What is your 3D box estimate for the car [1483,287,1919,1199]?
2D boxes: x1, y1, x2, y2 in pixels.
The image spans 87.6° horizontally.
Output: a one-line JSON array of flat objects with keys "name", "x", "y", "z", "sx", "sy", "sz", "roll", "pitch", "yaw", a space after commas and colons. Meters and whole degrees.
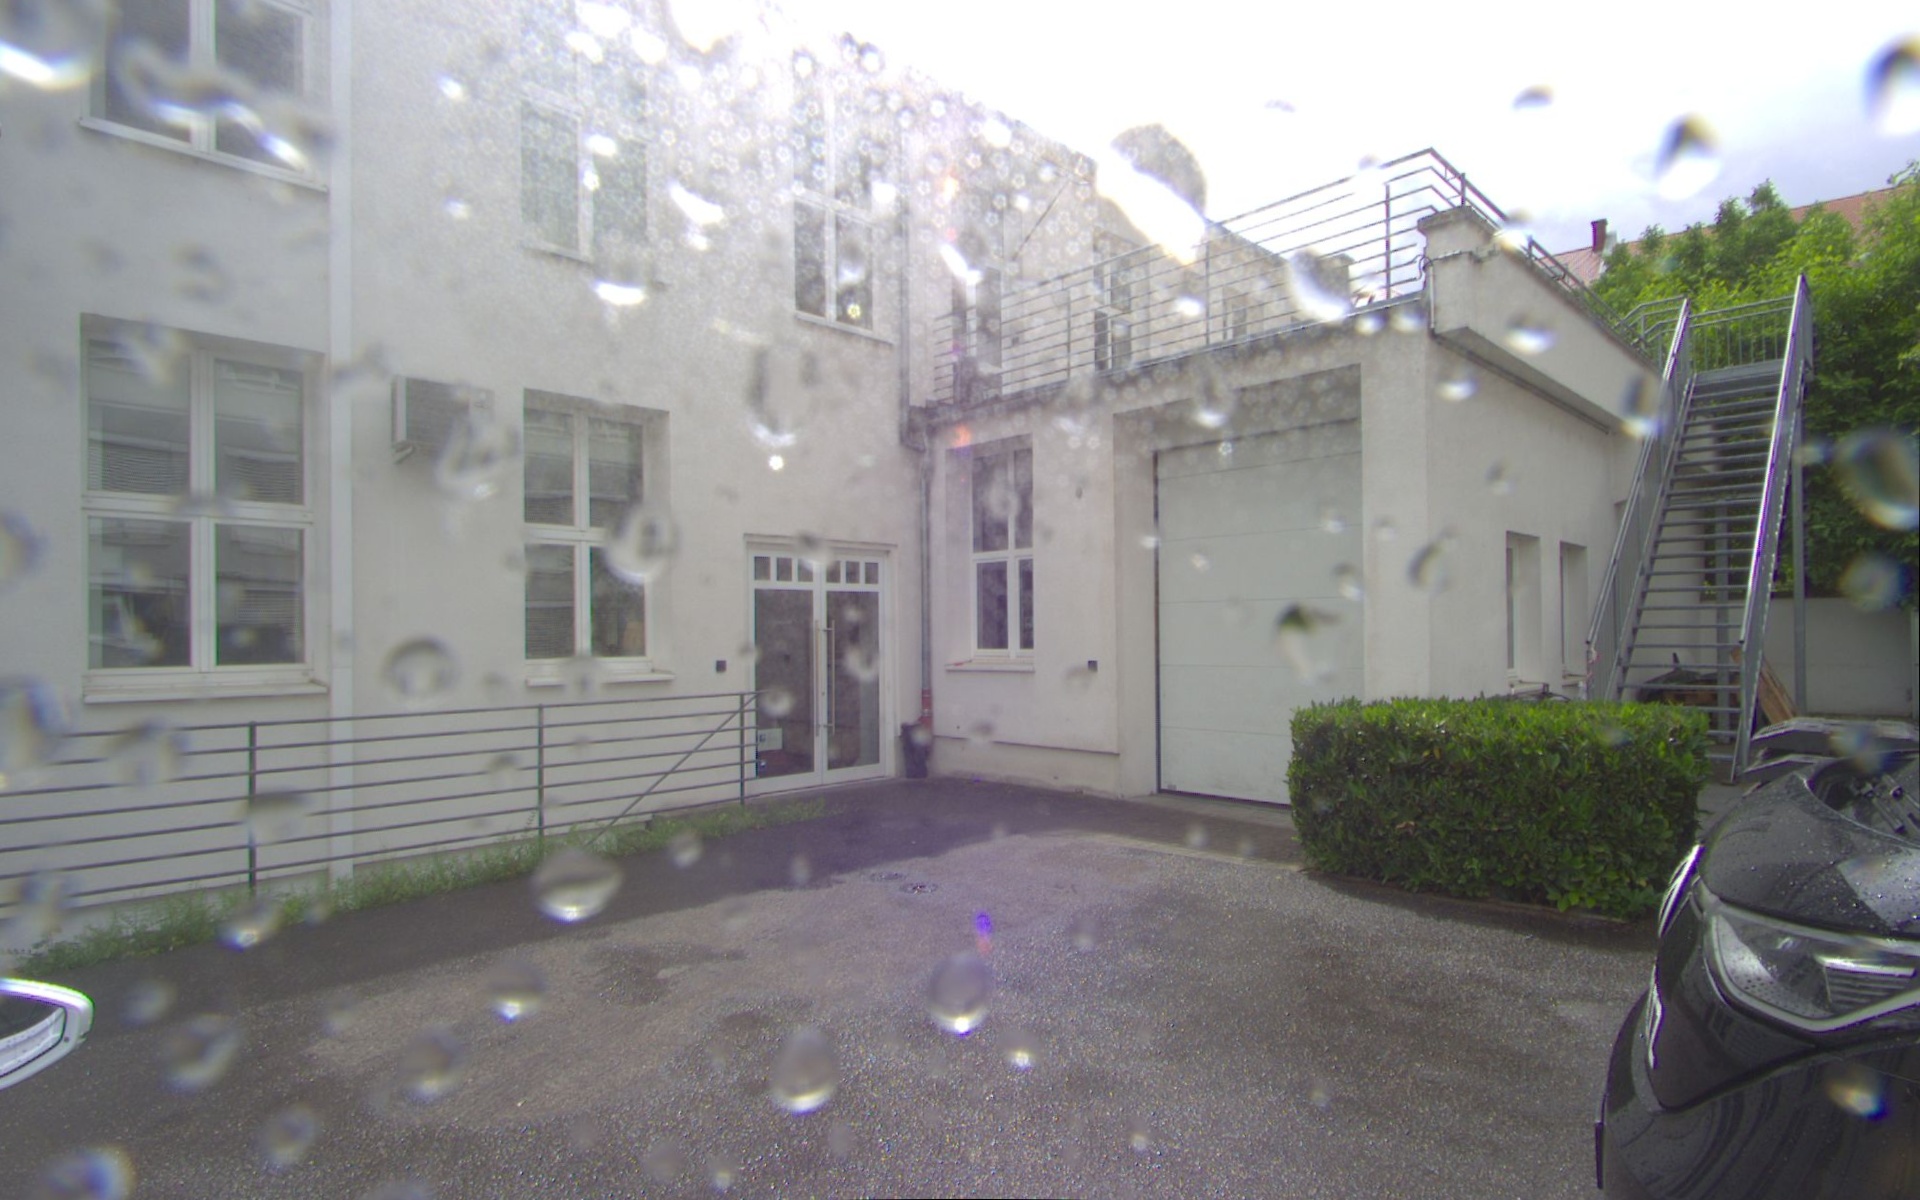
[{"name": "car", "x": 3.155, "y": 0.541, "z": 0.645, "sx": 4.691, "sy": 1.888, "sz": 1.957, "roll": -3, "pitch": -3, "yaw": 39}]
